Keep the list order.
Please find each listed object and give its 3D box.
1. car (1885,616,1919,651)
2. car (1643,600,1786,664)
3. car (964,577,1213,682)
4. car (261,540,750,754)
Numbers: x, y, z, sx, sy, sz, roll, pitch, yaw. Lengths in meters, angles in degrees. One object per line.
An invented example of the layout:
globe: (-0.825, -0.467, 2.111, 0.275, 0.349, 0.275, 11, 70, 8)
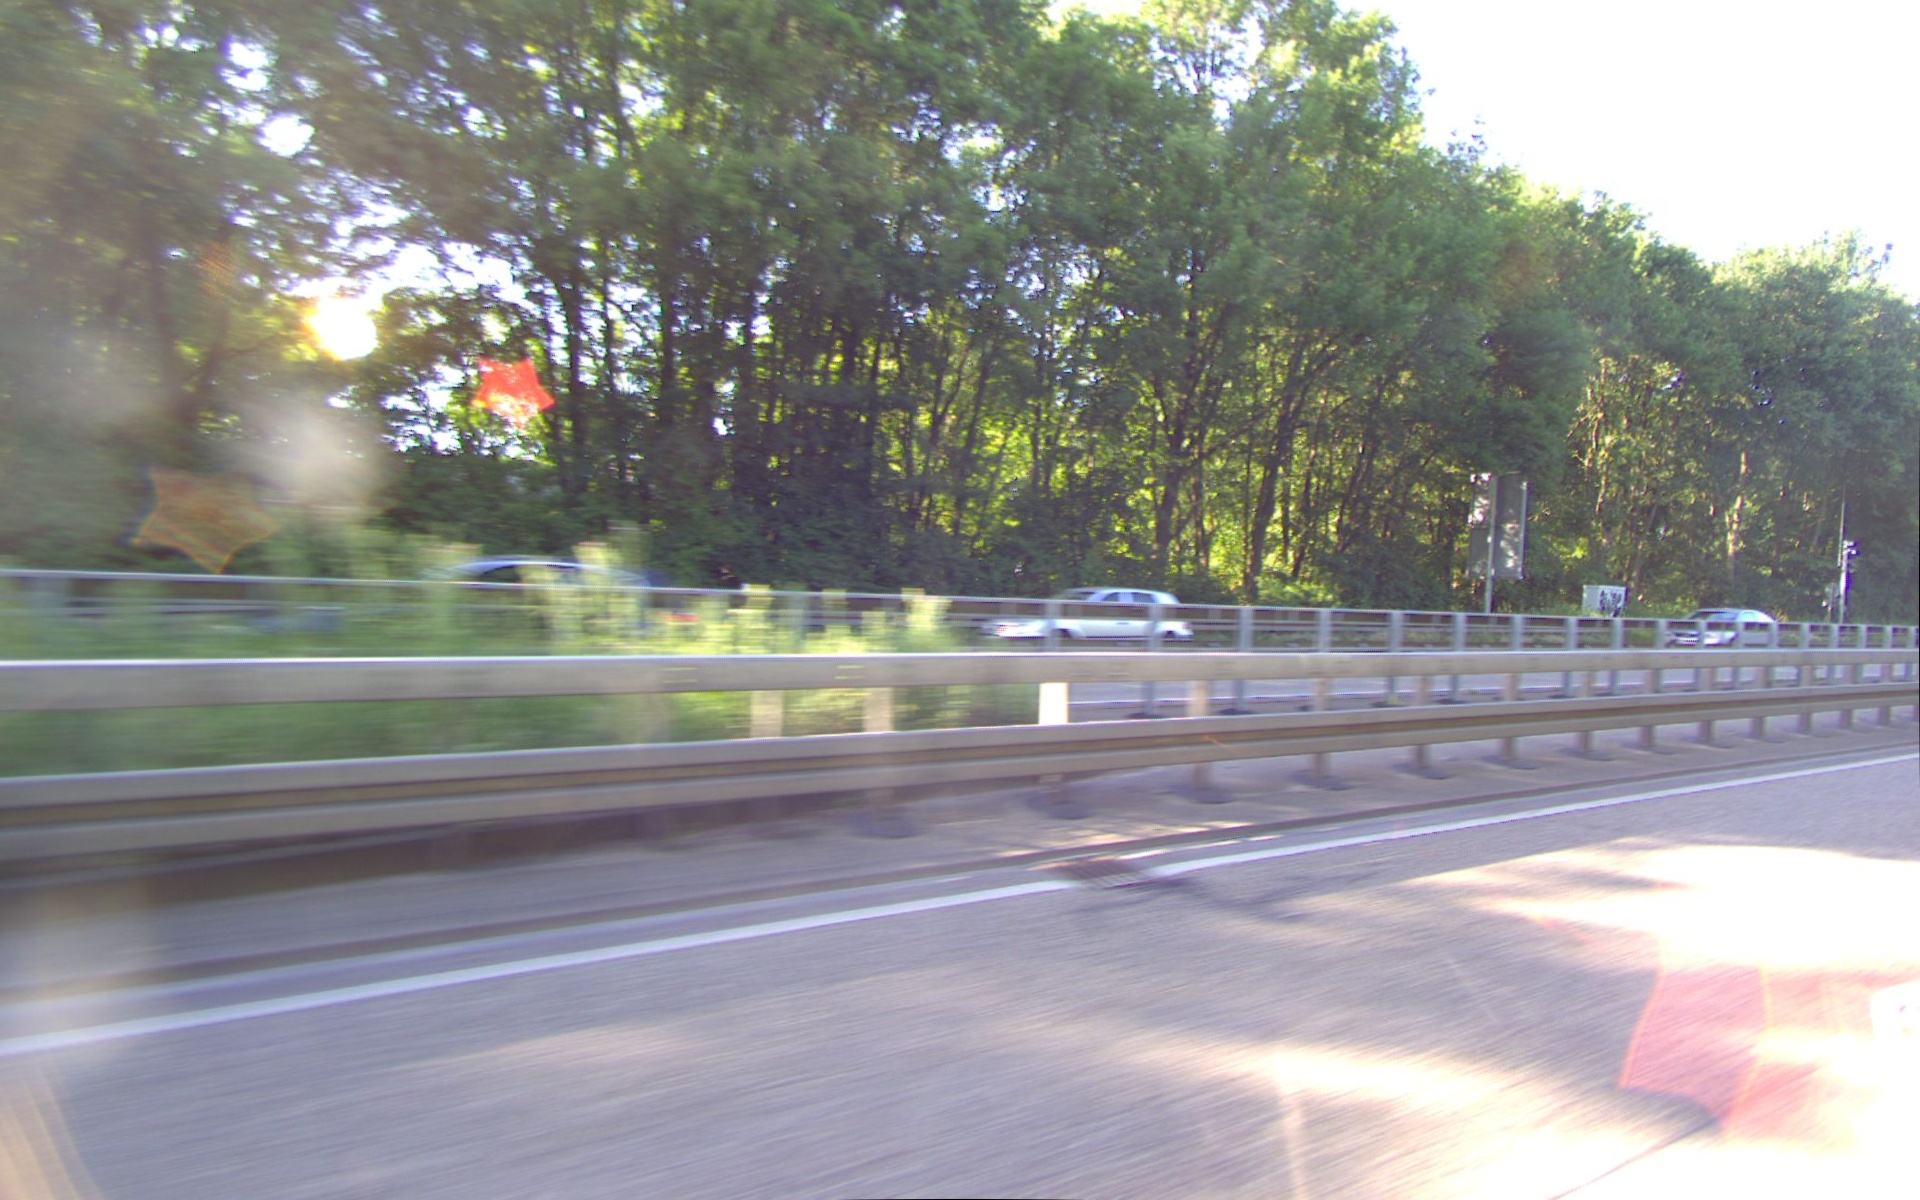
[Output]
car: (44.759, 1.563, 46.407, 4.402, 1.509, 1.721, 1, 1, -31)
car: (23.055, 0.984, 30.668, 4.322, 1.773, 1.984, 2, 0, -31)
car: (2.431, 0.546, 18.834, 4.293, 1.773, 1.984, 2, 0, -31)
car: (-4.377, 0.399, 10.011, 4.062, 1.739, 1.888, 2, 1, -30)
